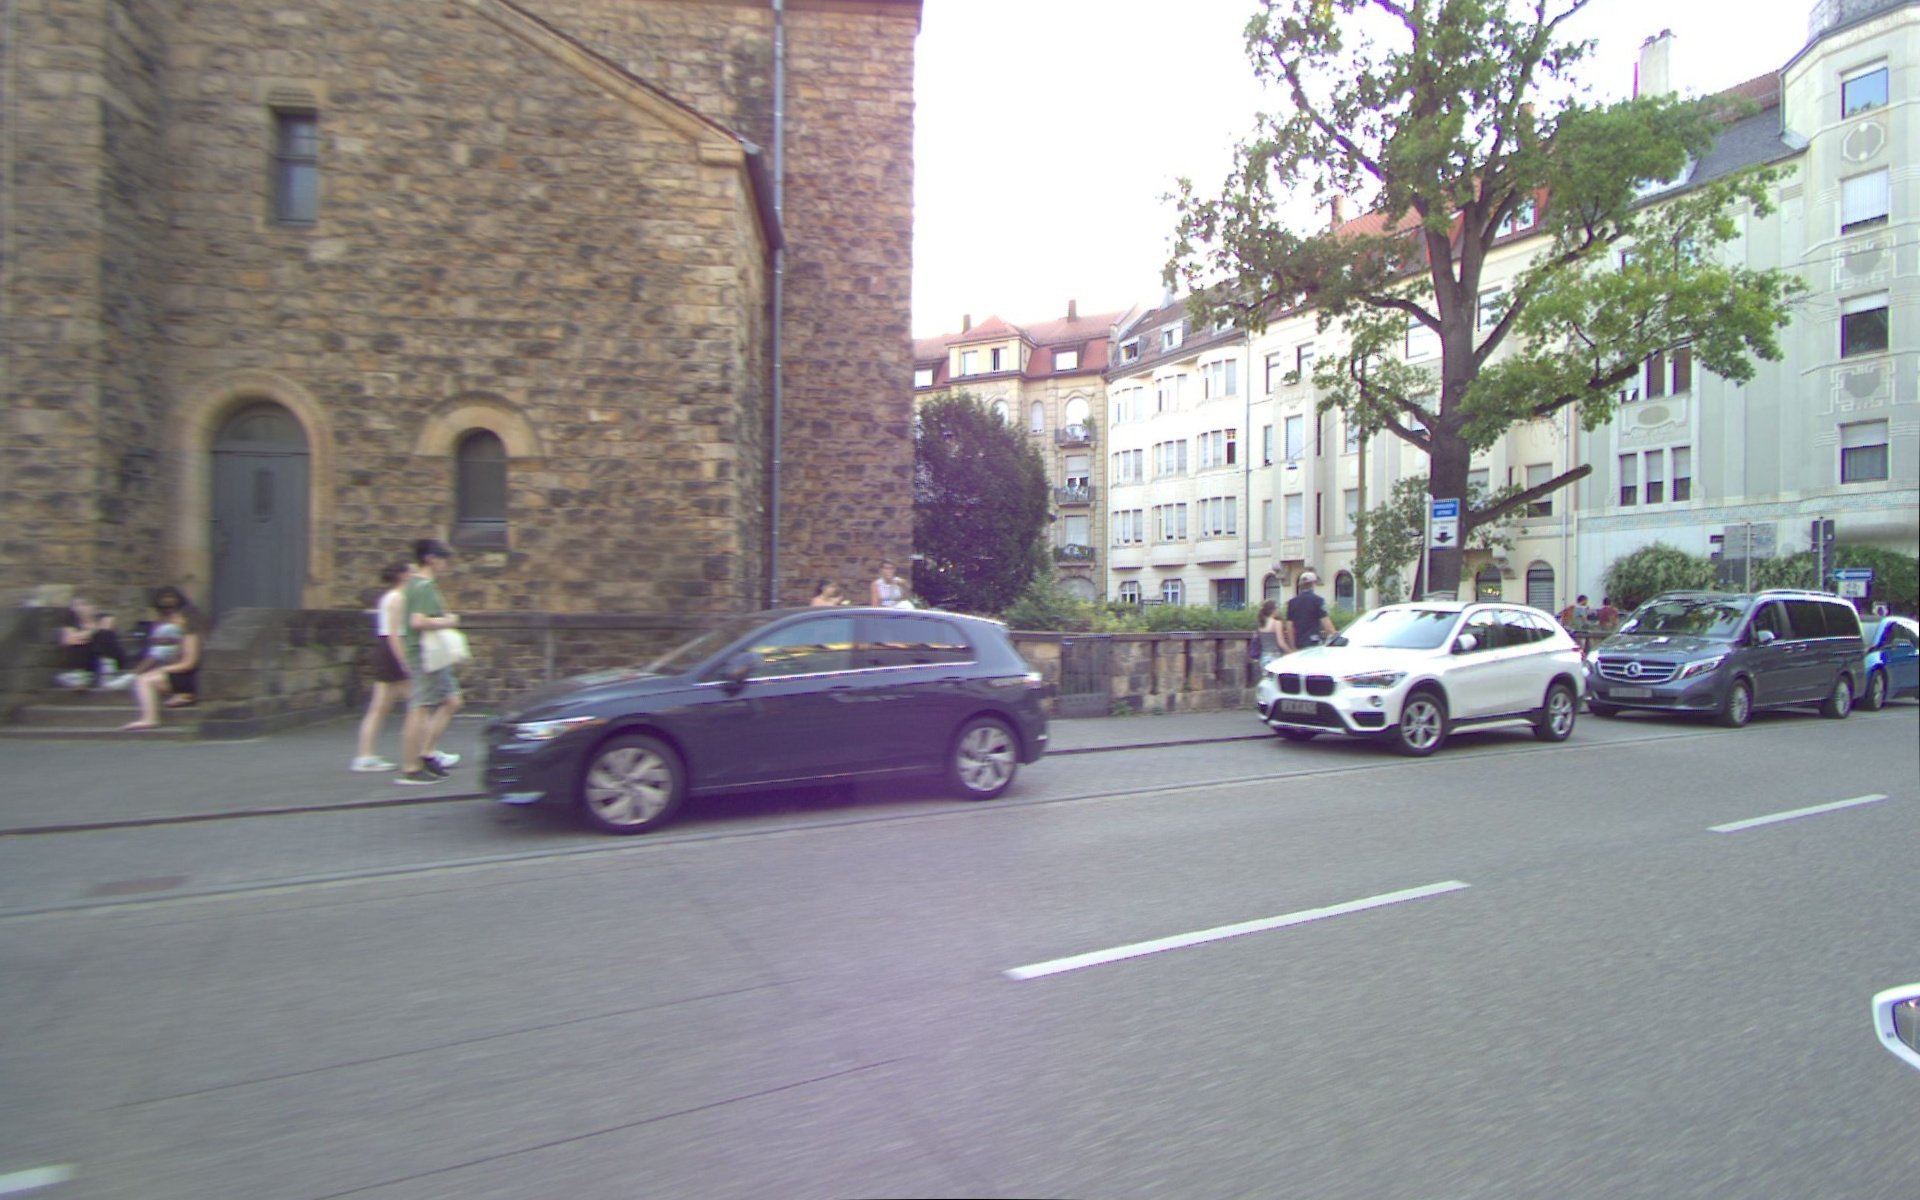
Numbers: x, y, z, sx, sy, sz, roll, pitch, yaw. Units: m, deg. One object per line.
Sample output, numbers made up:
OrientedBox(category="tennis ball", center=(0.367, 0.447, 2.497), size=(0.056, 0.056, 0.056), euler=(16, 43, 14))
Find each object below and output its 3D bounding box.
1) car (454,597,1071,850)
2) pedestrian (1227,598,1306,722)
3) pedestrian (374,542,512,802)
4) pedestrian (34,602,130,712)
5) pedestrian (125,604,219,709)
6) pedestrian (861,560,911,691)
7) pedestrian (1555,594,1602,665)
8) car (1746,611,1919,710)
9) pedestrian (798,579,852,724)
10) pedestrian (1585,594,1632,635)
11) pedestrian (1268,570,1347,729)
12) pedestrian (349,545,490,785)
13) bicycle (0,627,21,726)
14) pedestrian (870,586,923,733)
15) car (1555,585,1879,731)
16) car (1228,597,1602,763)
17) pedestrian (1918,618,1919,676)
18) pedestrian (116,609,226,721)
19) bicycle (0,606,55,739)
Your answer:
OrientedBox(category="car", center=(-1.412, 0.763, 7.607), size=(4.263, 1.454, 1.775), euler=(1, -1, -29))
OrientedBox(category="pedestrian", center=(4.020, 0.764, 13.165), size=(0.830, 1.572, 0.578), euler=(1, 0, -33))
OrientedBox(category="pedestrian", center=(-4.061, 0.537, 7.889), size=(0.882, 1.904, 0.643), euler=(1, 0, -33))
OrientedBox(category="pedestrian", center=(-8.833, 0.555, 10.106), size=(0.726, 1.062, 0.519), euler=(0, -1, 30))
OrientedBox(category="pedestrian", center=(-8.247, 0.582, 10.528), size=(0.596, 1.062, 0.498), euler=(1, 0, -10))
OrientedBox(category="pedestrian", center=(-0.916, 0.312, 12.383), size=(0.574, 1.566, 0.652), euler=(1, 0, -6))
OrientedBox(category="pedestrian", center=(15.516, 0.743, 25.204), size=(0.827, 1.744, 0.702), euler=(1, -1, -32))
OrientedBox(category="car", center=(15.844, 1.006, 17.763), size=(3.954, 1.576, 1.634), euler=(1, -1, -28))
OrientedBox(category="pedestrian", center=(-1.620, 0.610, 12.082), size=(0.407, 1.697, 0.548), euler=(1, 0, 20))
OrientedBox(category="pedestrian", center=(15.870, 0.362, 24.582), size=(0.827, 0.993, 0.702), euler=(1, -1, -32))
OrientedBox(category="pedestrian", center=(4.380, 0.610, 12.649), size=(0.794, 1.930, 0.579), euler=(1, -1, -33))
OrientedBox(category="pedestrian", center=(-4.512, 0.522, 8.388), size=(0.978, 1.881, 0.569), euler=(1, 0, -33))
OrientedBox(category="bicycle", center=(-9.737, 0.761, 9.458), size=(0.434, 1.002, 1.879), euler=(1, -1, -14))
OrientedBox(category="pedestrian", center=(-0.731, 0.671, 11.602), size=(0.407, 1.643, 0.548), euler=(1, 0, 20))
OrientedBox(category="car", center=(11.492, 0.795, 15.164), size=(5.225, 1.891, 1.985), euler=(1, -1, -29))
OrientedBox(category="car", center=(5.371, 0.827, 11.693), size=(4.419, 1.613, 1.861), euler=(1, -1, -32))
OrientedBox(category="pedestrian", center=(28.267, 1.363, 29.061), size=(0.557, 1.697, 0.616), euler=(1, -1, 10))
OrientedBox(category="pedestrian", center=(-7.796, 0.627, 9.949), size=(0.688, 1.070, 0.516), euler=(1, -1, -13))
OrientedBox(category="bicycle", center=(-9.374, 0.691, 9.525), size=(0.430, 1.265, 1.728), euler=(1, -1, -15))
